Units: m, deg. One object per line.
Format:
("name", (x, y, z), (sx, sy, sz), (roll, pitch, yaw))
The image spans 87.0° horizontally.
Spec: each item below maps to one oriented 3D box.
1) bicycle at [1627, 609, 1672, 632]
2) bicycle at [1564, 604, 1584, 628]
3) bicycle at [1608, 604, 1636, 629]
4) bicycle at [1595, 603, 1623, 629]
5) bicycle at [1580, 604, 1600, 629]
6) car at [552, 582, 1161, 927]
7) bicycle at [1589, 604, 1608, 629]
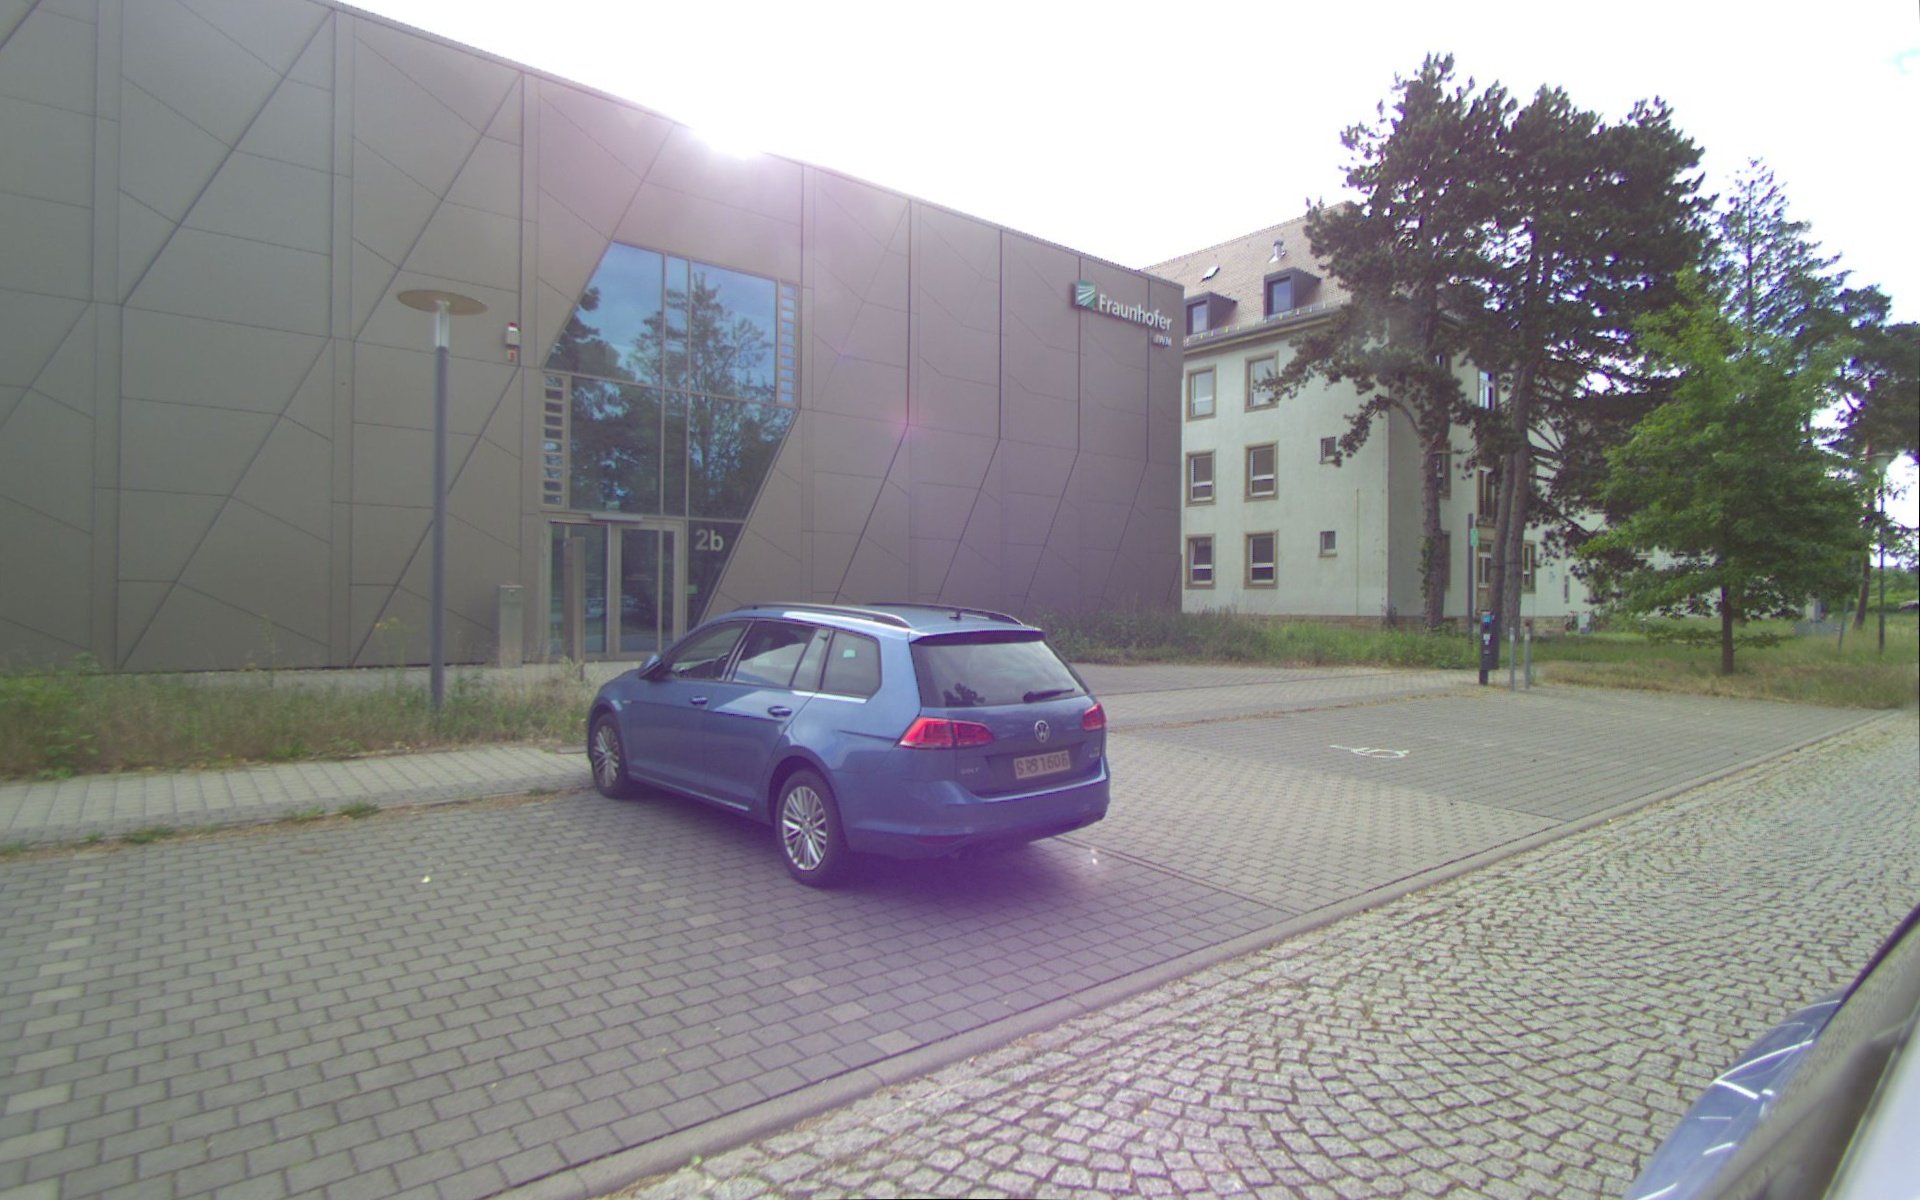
("bicycle", (35.675, 1.043, 52.393), (0.562, 1.099, 1.837), (-1, 1, -36))
("bicycle", (34.275, 0.883, 56.473), (0.571, 1.349, 1.808), (0, -1, 45))
("bicycle", (35.857, 0.883, 54.771), (1.802, 1.349, 0.573), (1, -1, -32))
("bicycle", (35.375, 0.867, 55.184), (1.802, 1.349, 0.573), (1, -1, -32))
("bicycle", (34.805, 0.887, 55.920), (0.571, 1.349, 1.808), (0, -1, 45))
("car", (-1.032, 0.683, 6.914), (1.792, 1.461, 4.529), (1, 2, -42))
("bicycle", (35.070, 0.878, 55.578), (0.481, 1.349, 1.808), (0, -1, 45))
